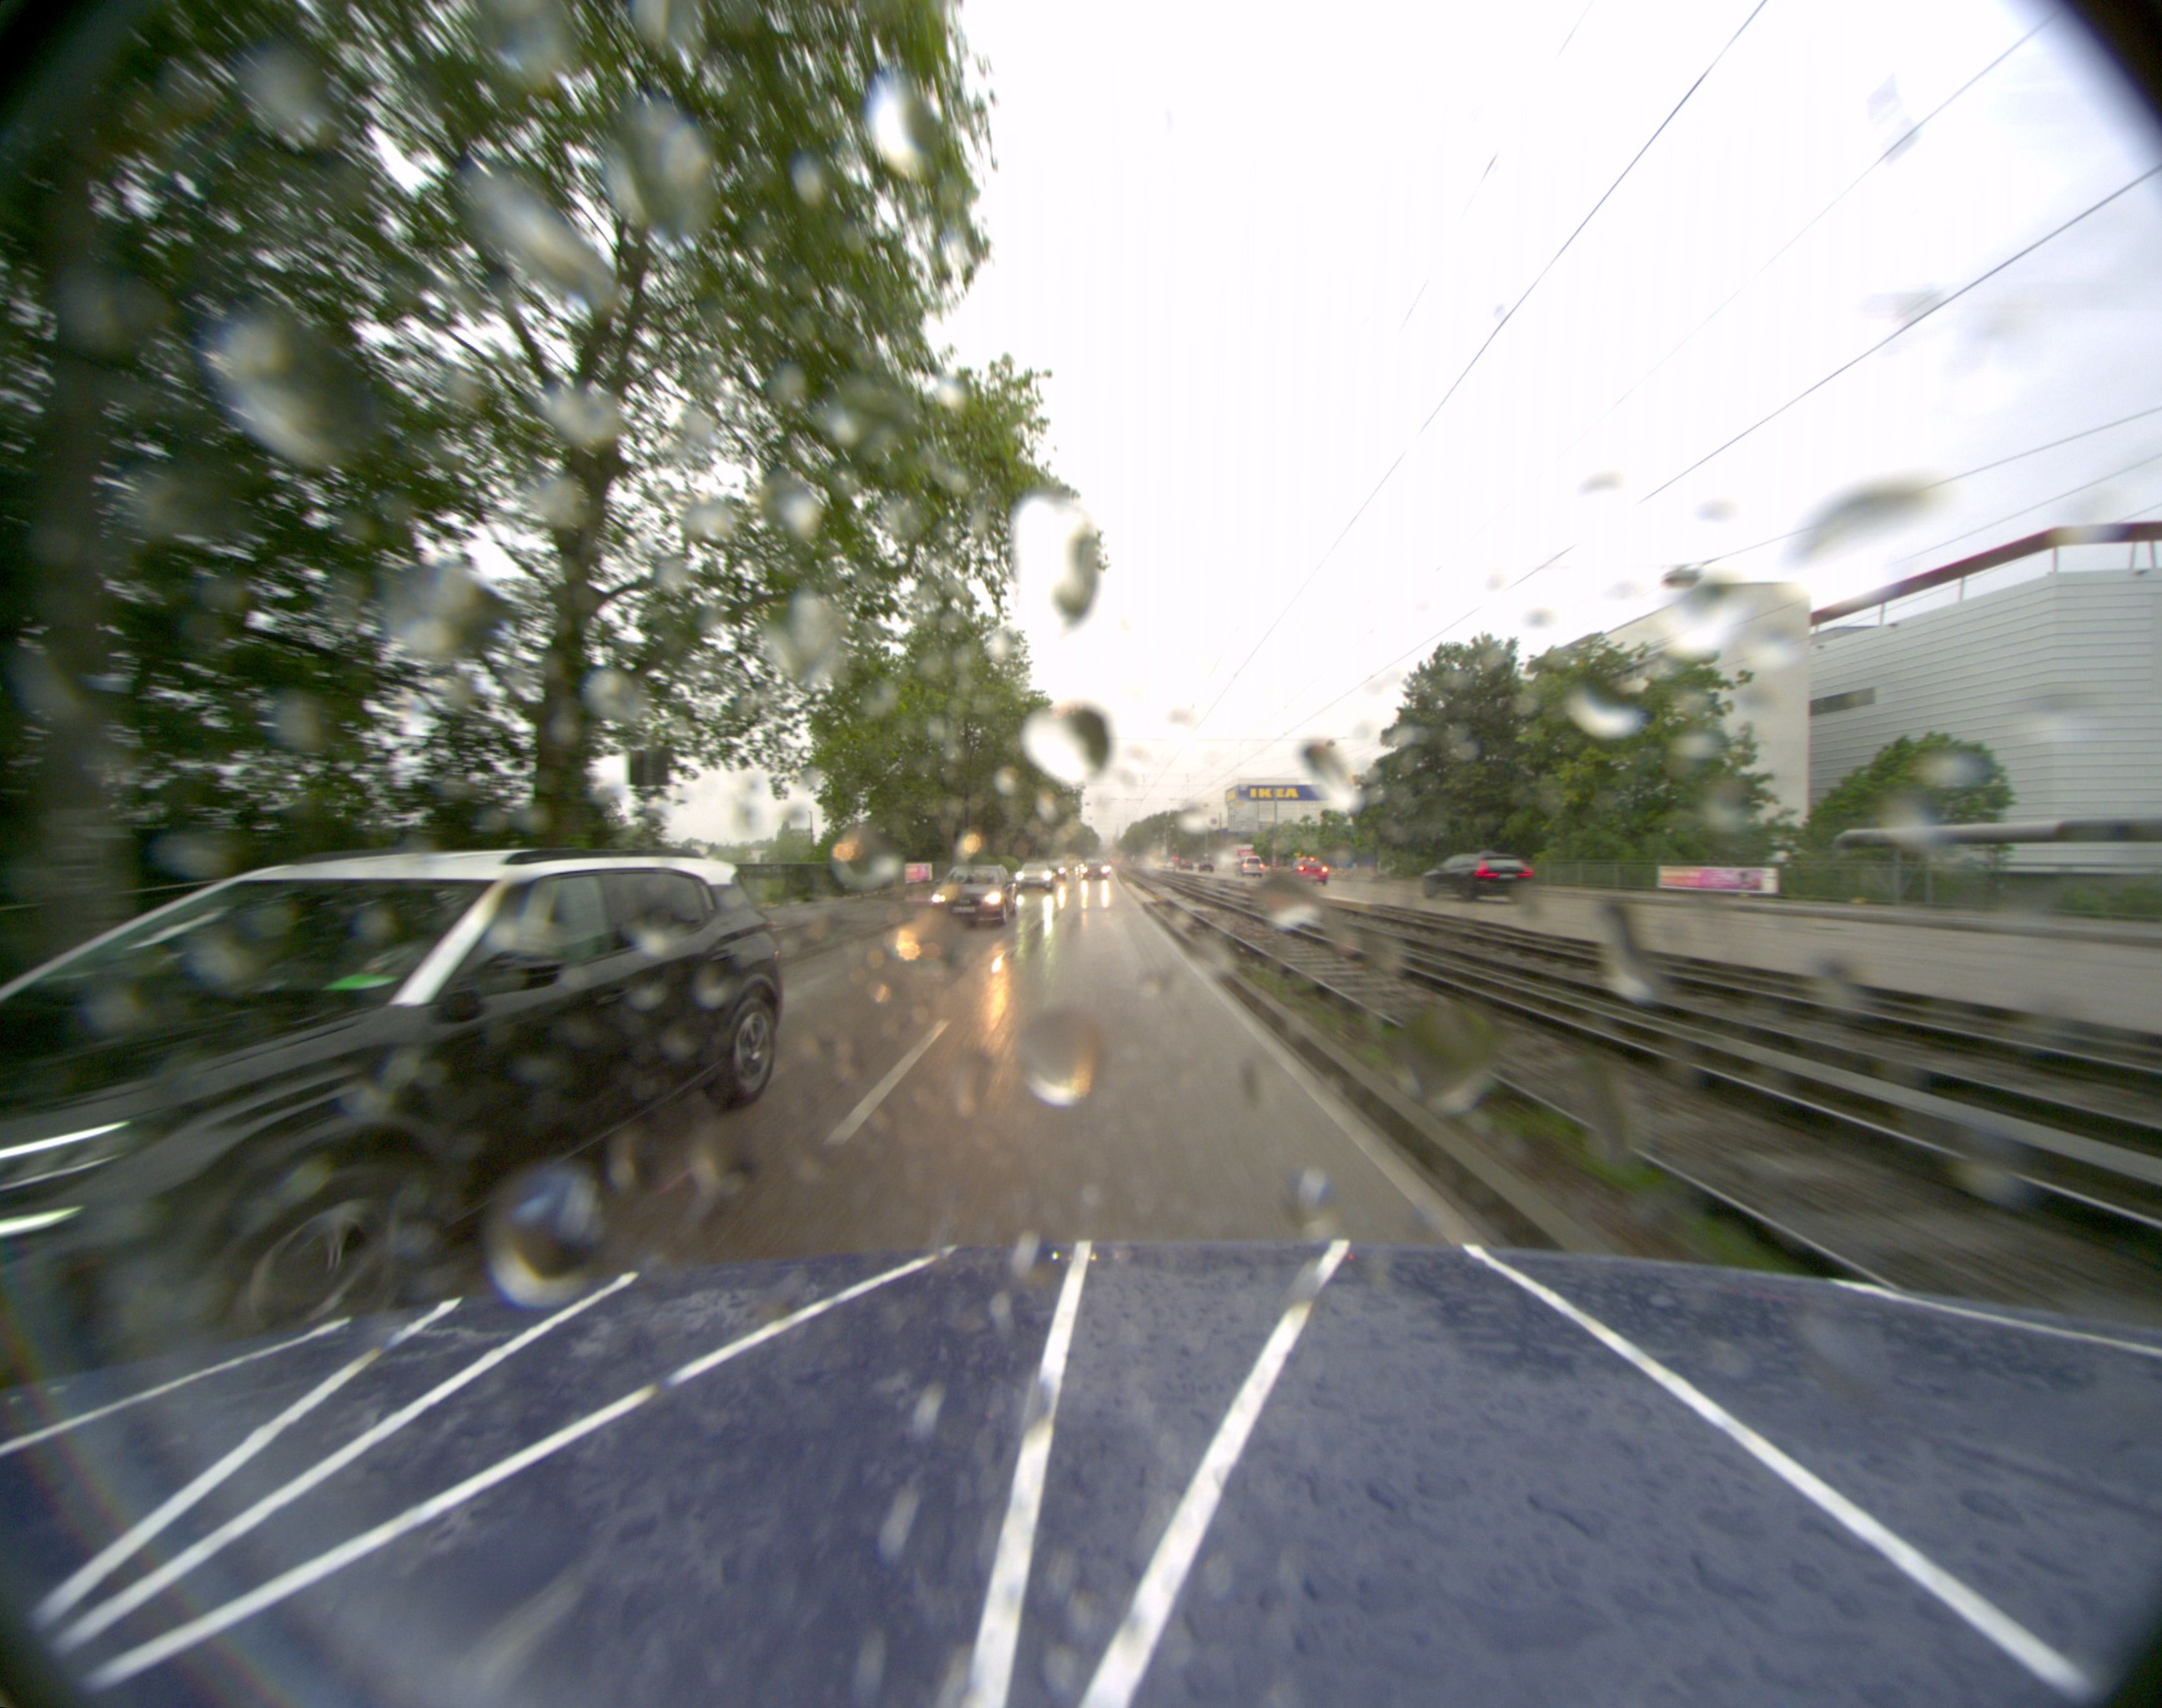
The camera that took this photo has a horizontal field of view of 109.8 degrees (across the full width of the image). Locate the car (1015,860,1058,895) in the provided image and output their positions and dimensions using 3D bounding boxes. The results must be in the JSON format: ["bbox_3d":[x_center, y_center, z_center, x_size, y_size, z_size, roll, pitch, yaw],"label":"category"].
[{"bbox_3d":[-2.047,1.072,35.752,1.807,1.521,3.645,-2,0,-1],"label":"car"}]

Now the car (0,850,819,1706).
[{"bbox_3d":[-3.015,0.882,3.552,1.797,1.692,4.764,-2,0,1],"label":"car"}]

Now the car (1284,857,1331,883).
[{"bbox_3d":[12.886,0.889,43.415,1.707,1.445,4.002,0,0,4],"label":"car"}]

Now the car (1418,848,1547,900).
[{"bbox_3d":[13.613,0.649,26.172,1.942,1.642,4.872,0,0,1],"label":"car"}]

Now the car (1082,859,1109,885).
[{"bbox_3d":[1.002,1.226,53.377,1.816,1.692,4.001,-1,0,1],"label":"car"}]

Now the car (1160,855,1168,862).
[{"bbox_3d":[19.290,1.111,176.536,1.570,1.525,4.002,0,0,4],"label":"car"}]

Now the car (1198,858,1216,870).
[{"bbox_3d":[16.593,1.359,100.068,1.708,1.536,4.001,0,0,1],"label":"car"}]

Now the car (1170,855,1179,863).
[{"bbox_3d":[18.780,1.007,152.158,1.570,1.536,4.002,-1,-1,4],"label":"car"}]

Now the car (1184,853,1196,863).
[{"bbox_3d":[17.320,0.693,120.805,1.648,1.536,4.001,0,0,3],"label":"car"}]

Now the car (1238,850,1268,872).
[{"bbox_3d":[15.412,0.603,68.258,1.845,1.898,4.001,0,0,1],"label":"car"}]

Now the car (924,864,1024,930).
[{"bbox_3d":[-2.507,0.965,18.661,1.784,1.419,4.001,-1,0,1],"label":"car"}]

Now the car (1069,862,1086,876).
[{"bbox_3d":[-0.381,1.646,84.393,1.846,1.572,3.838,-2,0,-1],"label":"car"}]
